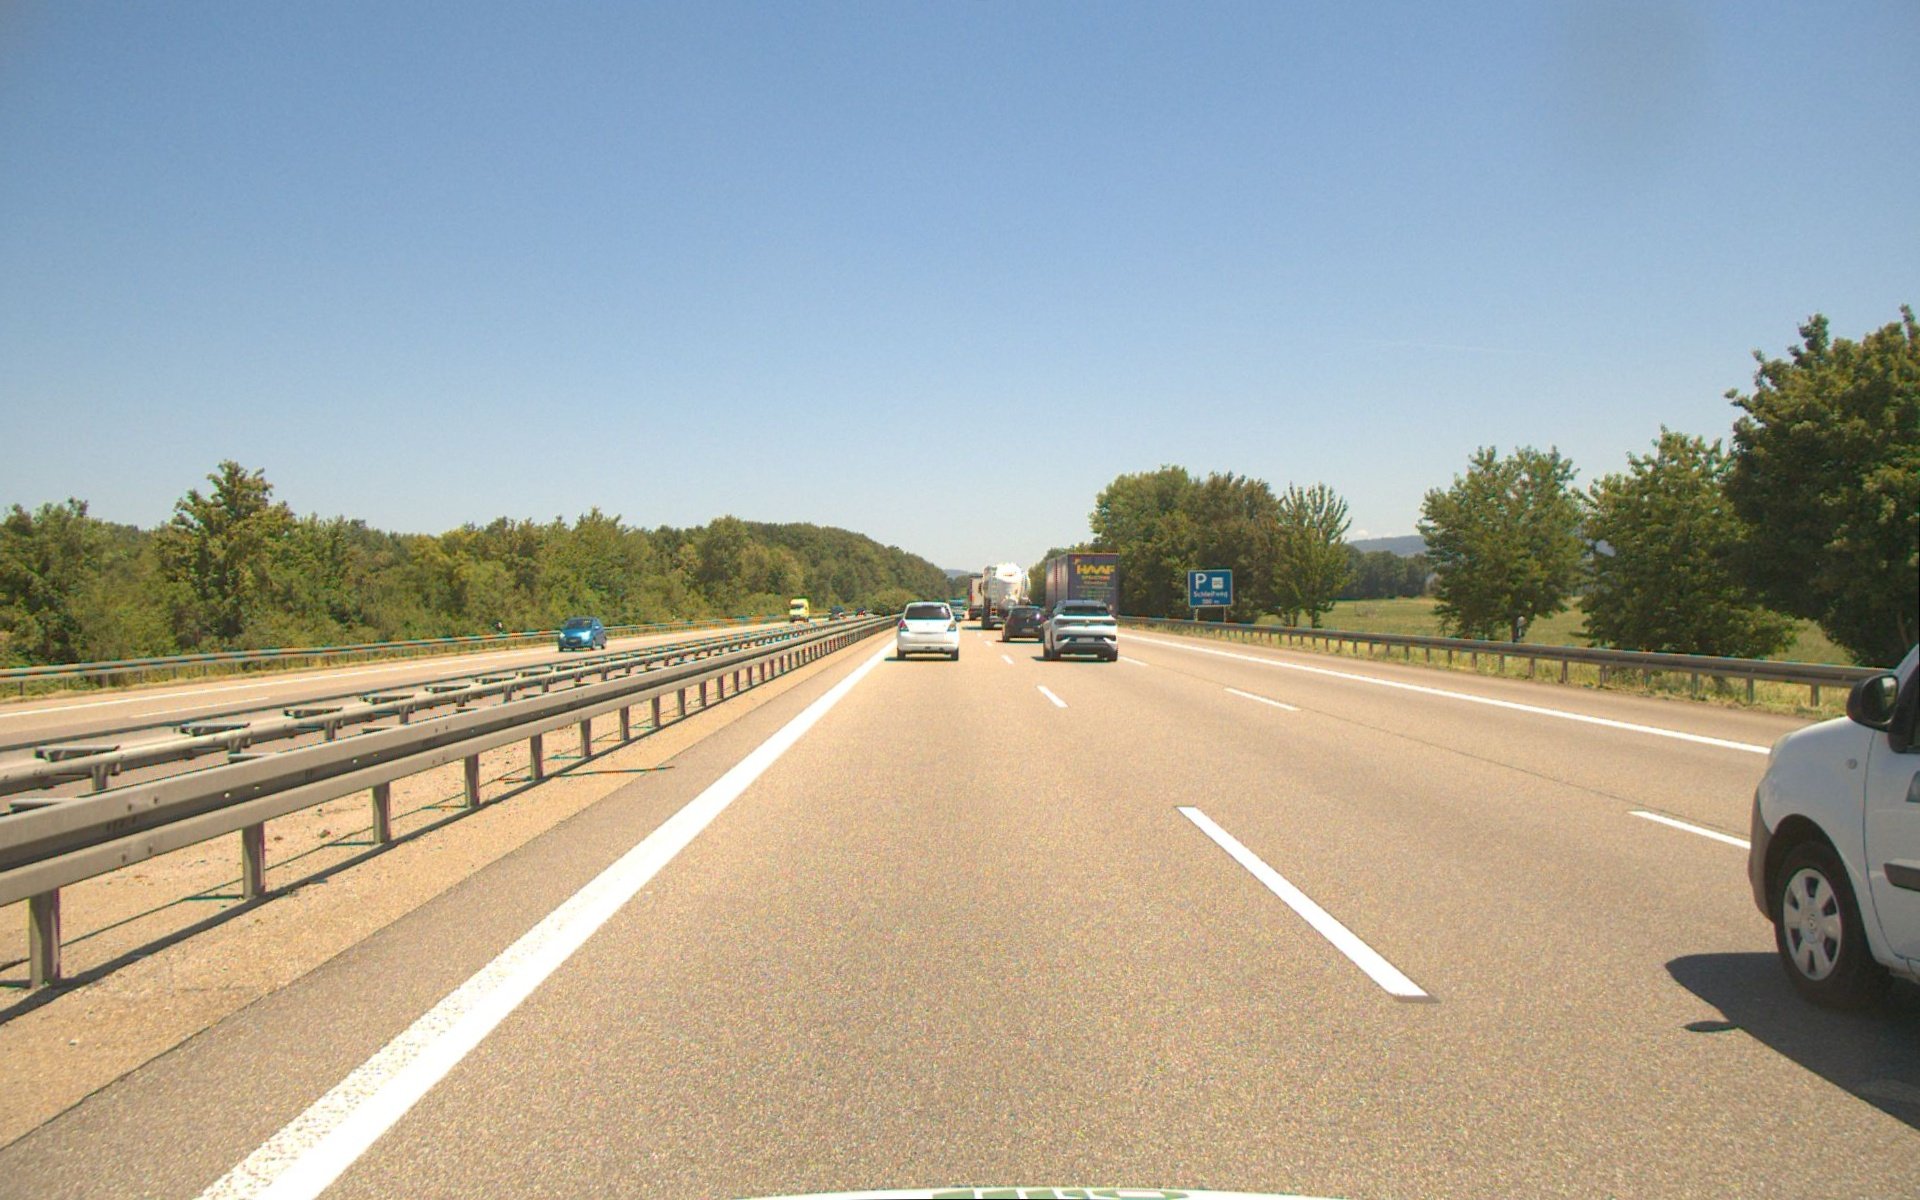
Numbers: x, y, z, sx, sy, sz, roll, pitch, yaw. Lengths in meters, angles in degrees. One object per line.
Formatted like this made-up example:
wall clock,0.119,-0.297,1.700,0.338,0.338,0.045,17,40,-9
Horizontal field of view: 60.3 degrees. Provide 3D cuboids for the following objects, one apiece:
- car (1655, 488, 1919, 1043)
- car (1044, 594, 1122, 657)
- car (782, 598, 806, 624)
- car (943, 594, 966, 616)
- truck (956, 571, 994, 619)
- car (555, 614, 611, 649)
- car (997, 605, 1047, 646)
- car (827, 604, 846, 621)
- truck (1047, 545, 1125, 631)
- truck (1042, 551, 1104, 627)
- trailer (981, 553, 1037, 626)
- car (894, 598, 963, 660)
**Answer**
car,4.203,0.577,5.326,1.816,1.895,4.700,1,0,-2
car,3.355,0.661,45.677,1.765,1.631,4.380,1,0,-1
car,-18.925,1.236,188.771,2.121,2.828,5.799,-3,0,-1
car,-0.595,0.536,185.550,2.424,2.395,5.181,1,0,0
truck,1.384,-0.433,155.922,3.325,4.287,12.082,1,0,0
car,-16.806,1.392,73.803,1.531,1.449,3.472,-3,-1,2
car,2.475,0.995,66.493,1.813,1.549,3.956,1,0,-1
car,-14.019,1.404,187.549,1.830,1.719,4.625,-3,0,-1
truck,6.602,-0.583,89.238,3.045,4.211,15.510,1,0,0
truck,6.580,-0.610,97.154,3.045,4.211,8.056,1,0,0
trailer,2.880,-0.611,100.790,2.852,4.140,12.415,1,0,-1
car,-0.859,0.761,44.702,1.763,1.579,3.609,1,0,-1
